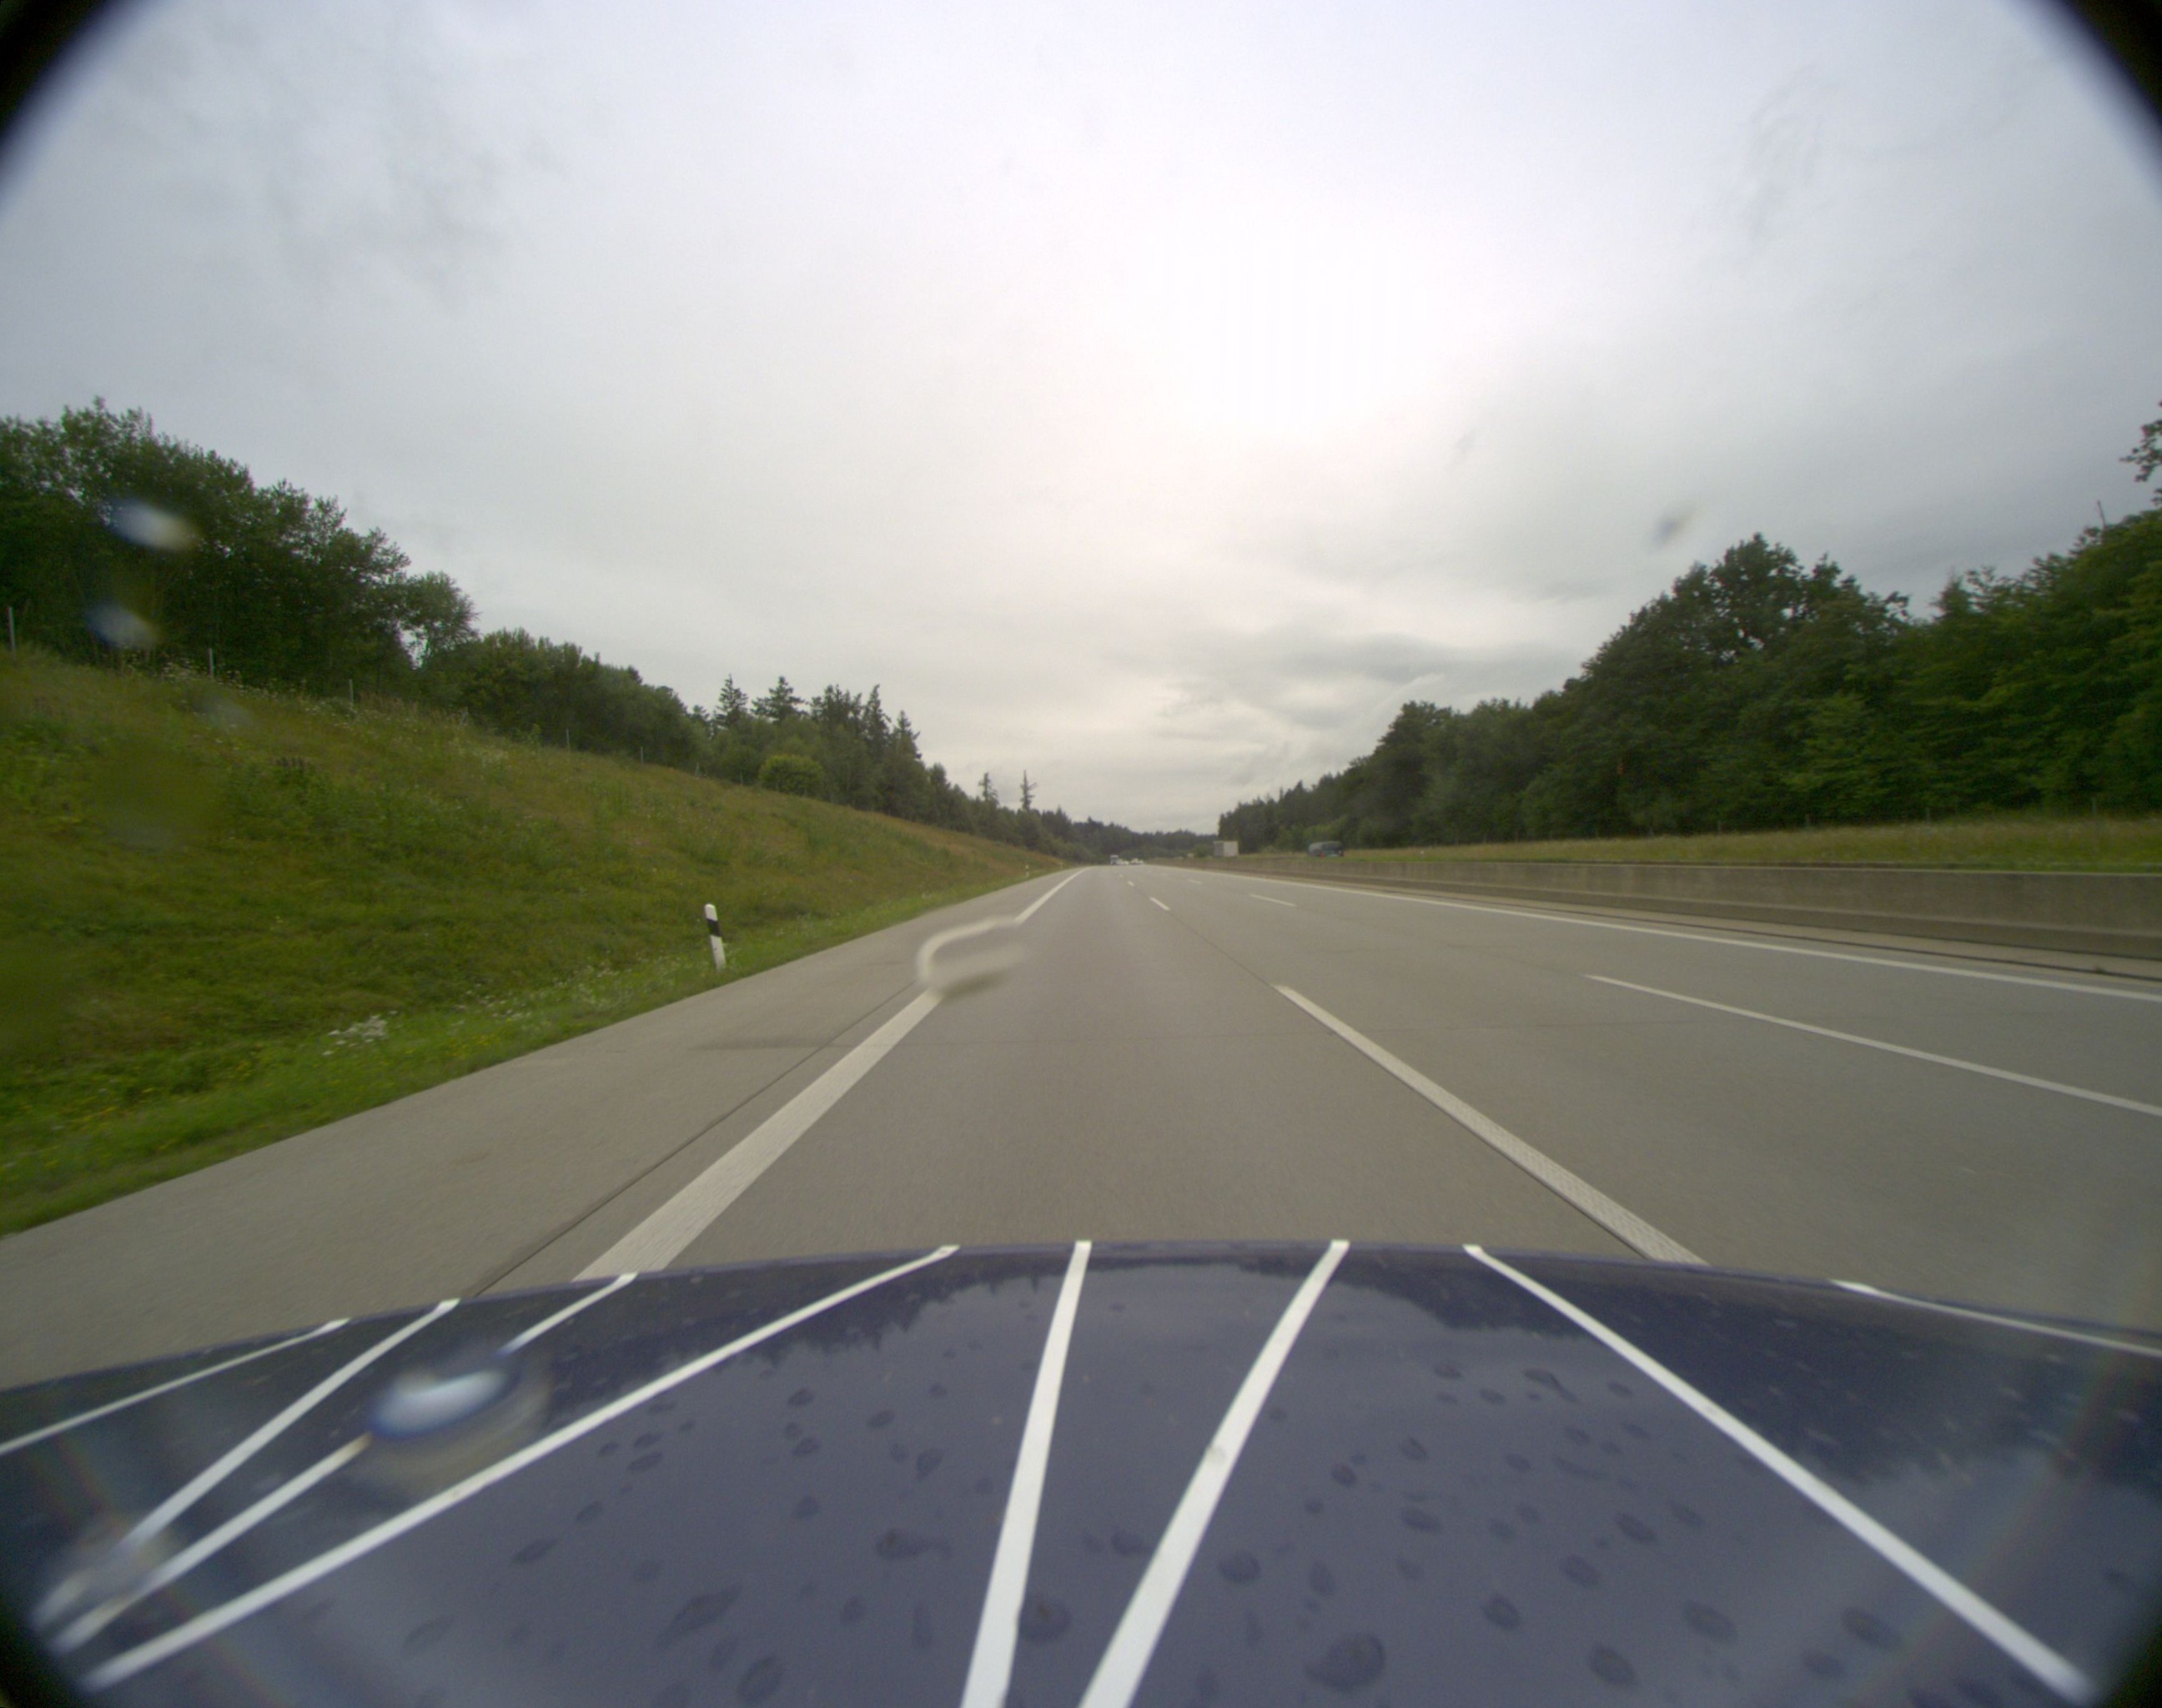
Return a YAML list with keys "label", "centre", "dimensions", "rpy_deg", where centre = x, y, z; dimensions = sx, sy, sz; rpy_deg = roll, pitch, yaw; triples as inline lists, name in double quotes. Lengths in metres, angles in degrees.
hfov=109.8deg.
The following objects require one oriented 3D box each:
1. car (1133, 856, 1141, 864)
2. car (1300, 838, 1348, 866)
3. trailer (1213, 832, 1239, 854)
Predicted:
- label: "car"
  centre: [17.262, 1.847, 233.161]
  dimensions: [2.213, 2.001, 4.836]
  rpy_deg: [-3, -2, 3]
- label: "car"
  centre: [18.926, -0.140, 59.443]
  dimensions: [2.067, 2.002, 5.427]
  rpy_deg: [-2, 0, 1]
- label: "trailer"
  centre: [27.485, -1.993, 144.821]
  dimensions: [2.817, 3.996, 13.990]
  rpy_deg: [-2, 0, 2]
